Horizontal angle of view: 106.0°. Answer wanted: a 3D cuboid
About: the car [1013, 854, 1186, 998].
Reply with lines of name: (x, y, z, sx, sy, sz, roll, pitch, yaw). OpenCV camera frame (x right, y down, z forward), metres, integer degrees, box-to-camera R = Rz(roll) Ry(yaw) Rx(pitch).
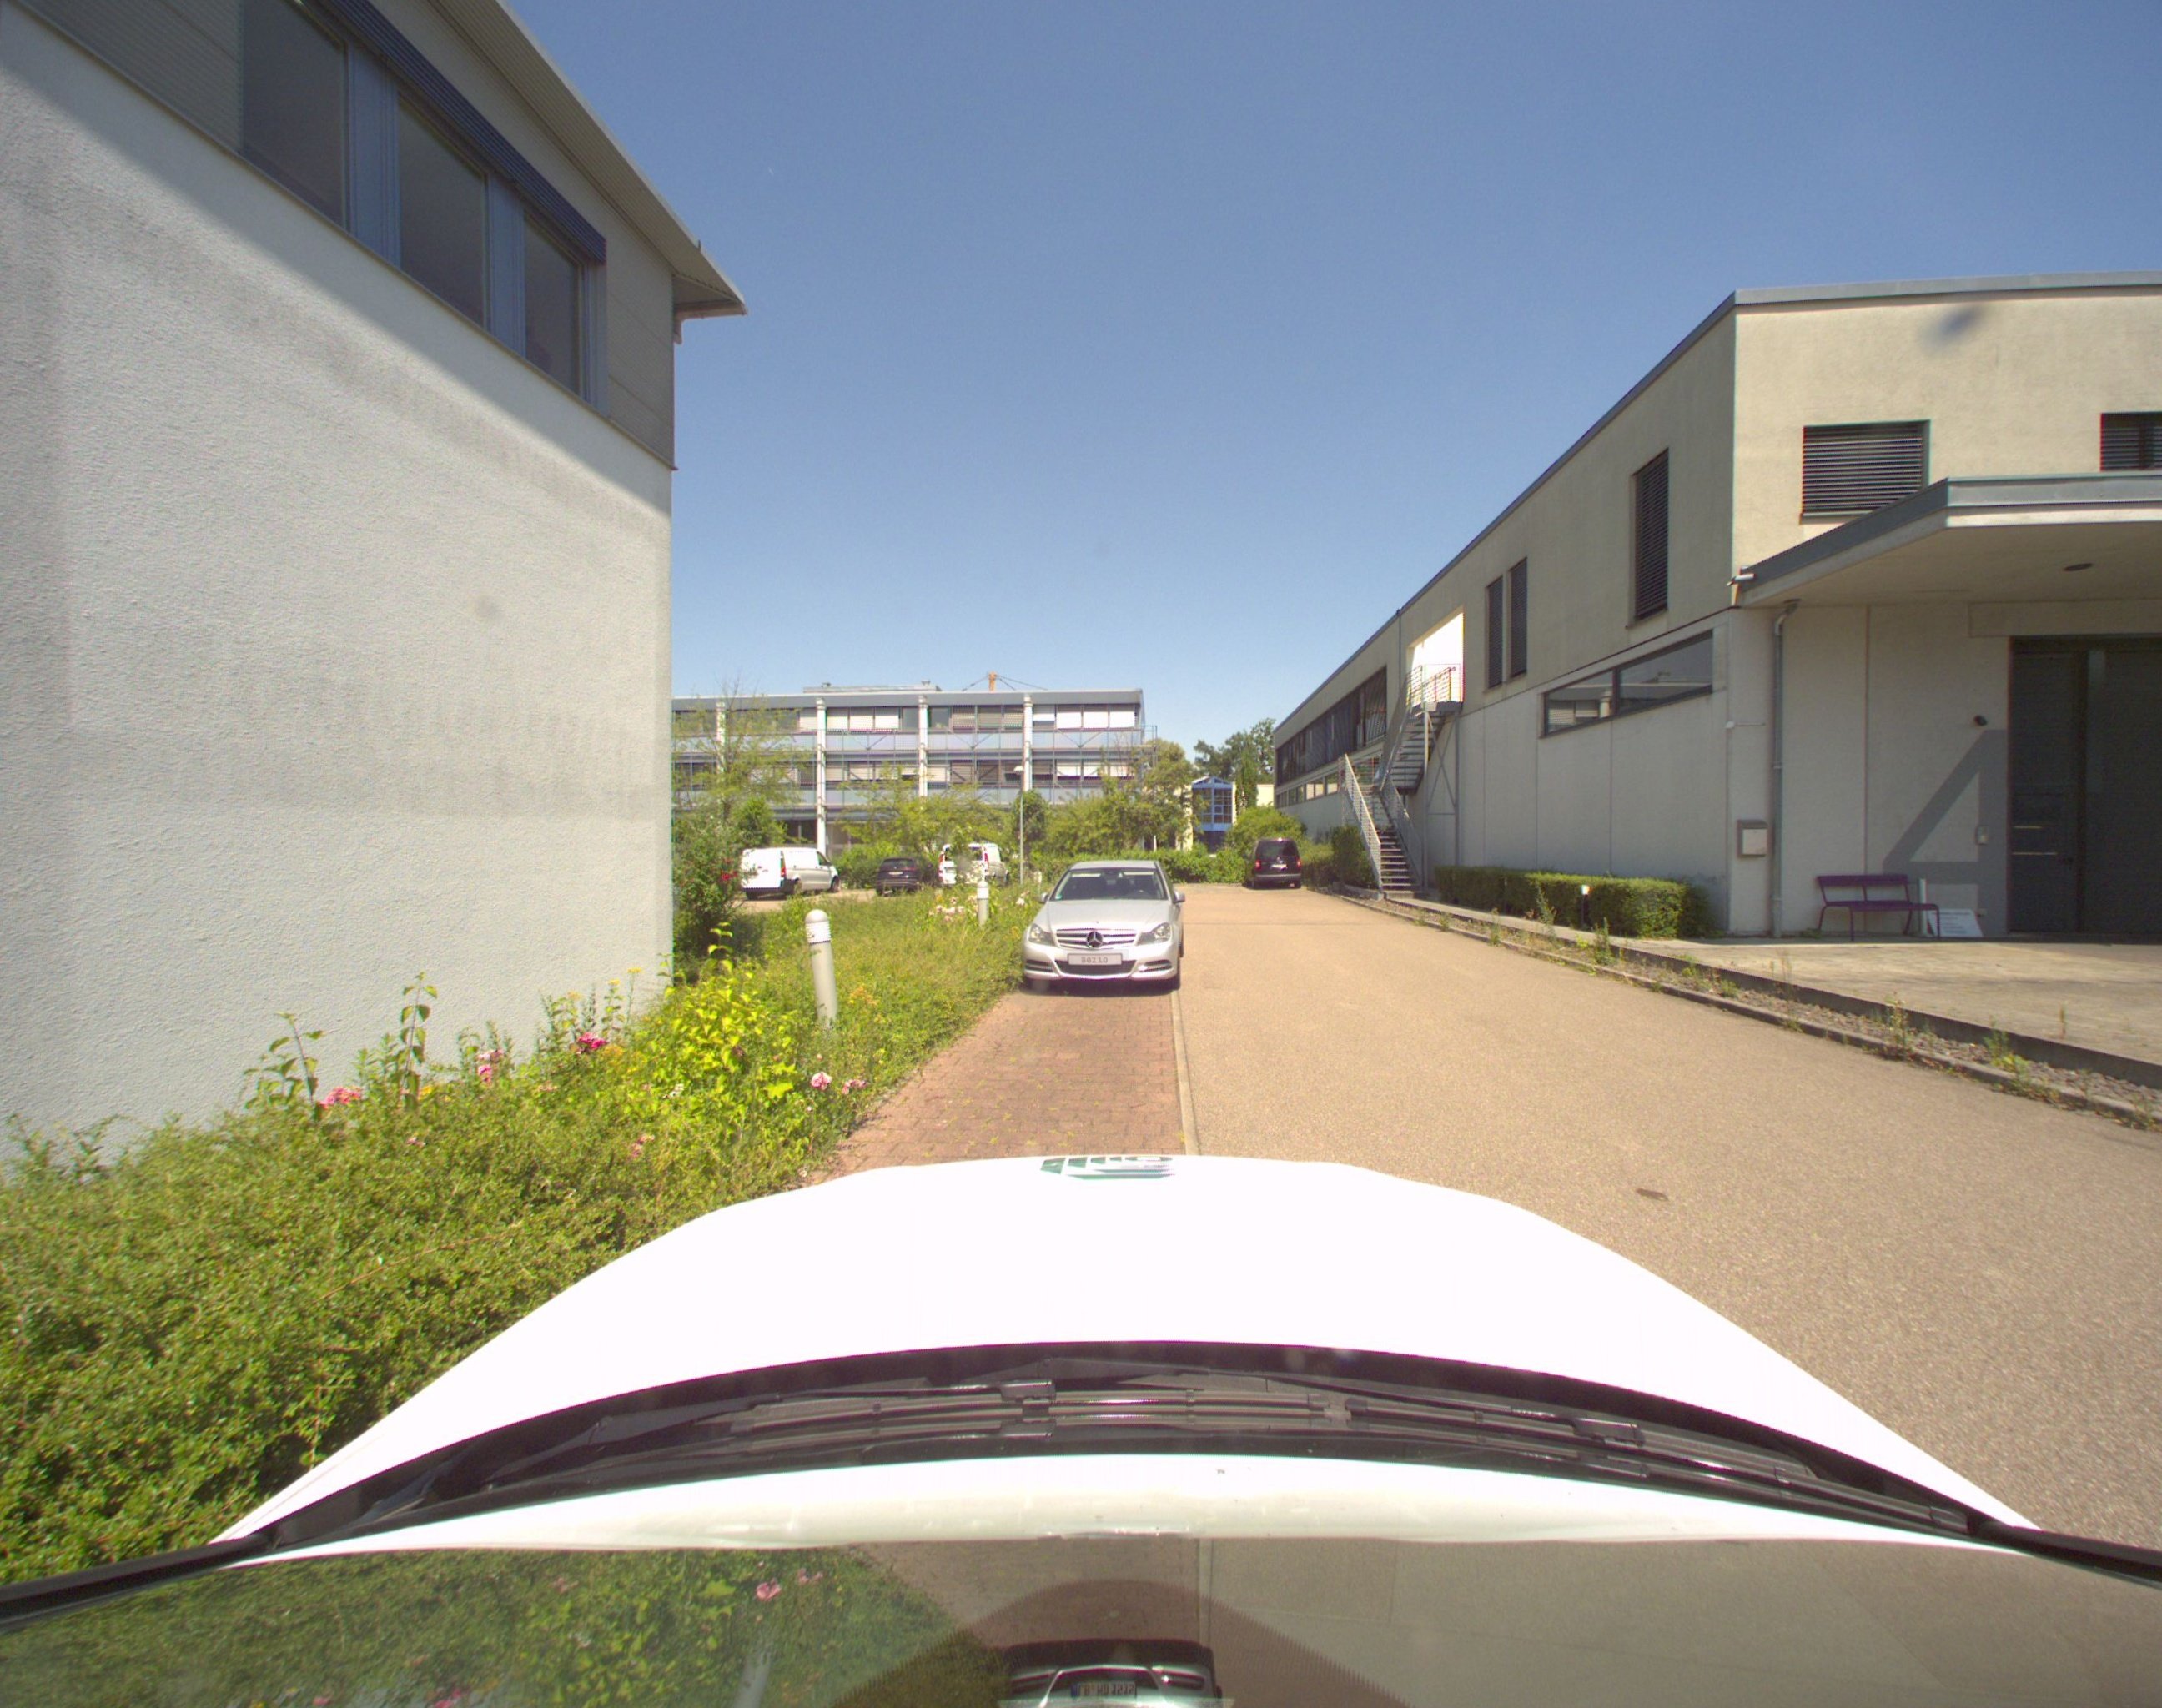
car: (0.447, 0.751, 10.504, 1.719, 1.457, 4.157, -2, 0, 8)

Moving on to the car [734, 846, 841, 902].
car: (-11.136, 0.696, 31.311, 1.872, 1.891, 4.813, -1, 1, 6)

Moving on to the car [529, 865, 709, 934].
car: (-11.910, 1.101, 21.417, 1.848, 1.472, 4.490, -1, 1, 5)

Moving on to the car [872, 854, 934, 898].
car: (-6.792, 0.790, 31.420, 1.751, 1.476, 3.994, -2, 1, -4)

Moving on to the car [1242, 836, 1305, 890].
car: (7.202, 0.296, 30.819, 1.735, 1.837, 4.006, -2, 1, 5)

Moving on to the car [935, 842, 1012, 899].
car: (-3.935, 0.535, 30.756, 1.904, 1.905, 4.813, -2, 1, 4)
